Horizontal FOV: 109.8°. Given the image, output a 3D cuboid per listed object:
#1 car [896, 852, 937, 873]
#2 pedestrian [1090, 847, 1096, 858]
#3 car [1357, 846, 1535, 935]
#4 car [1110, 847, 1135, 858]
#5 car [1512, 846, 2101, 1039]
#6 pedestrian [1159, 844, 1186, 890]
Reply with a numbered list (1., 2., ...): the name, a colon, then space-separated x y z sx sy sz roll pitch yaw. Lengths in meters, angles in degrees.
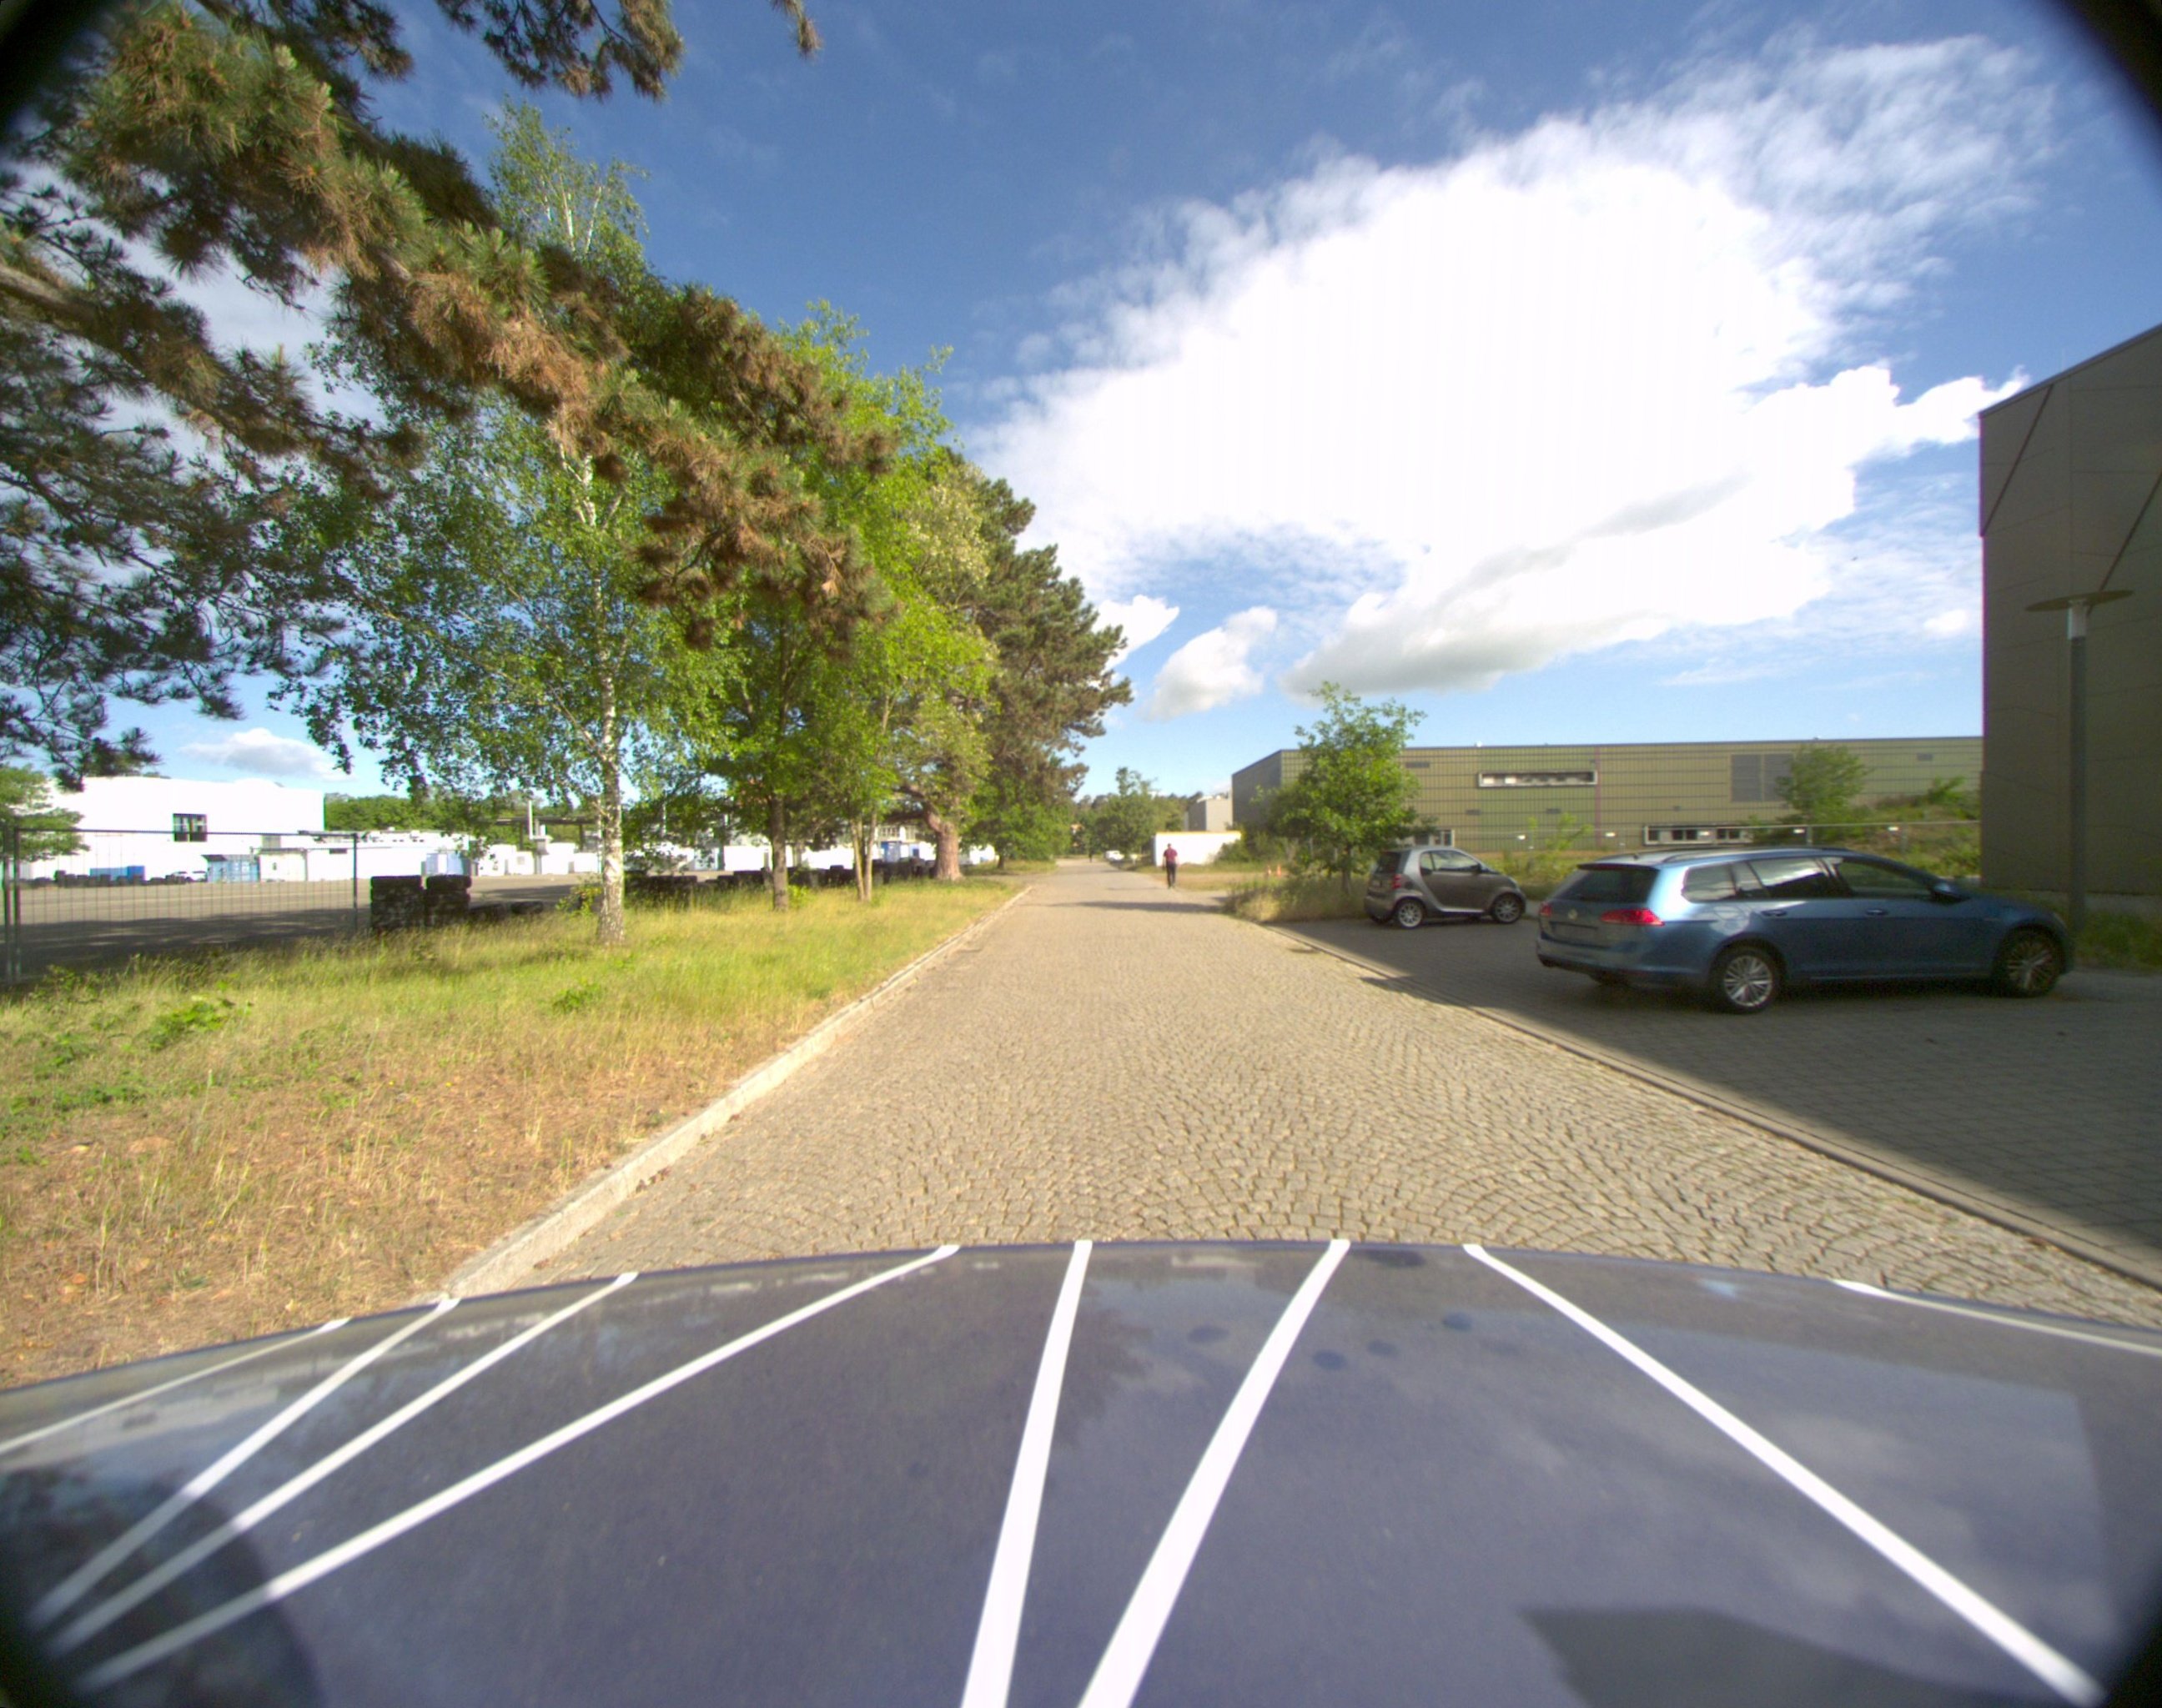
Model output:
1. car: -12.283 0.623 56.939 1.846 1.440 4.001 -1 1 6
2. pedestrian: 1.859 -0.253 118.540 0.908 1.797 0.983 -1 1 -7
3. car: 7.075 0.671 14.910 2.706 1.533 1.518 -3 1 -1
4. car: 6.640 -0.171 122.204 3.996 1.678 2.000 -1 1 3
5. car: 6.883 0.770 7.508 4.268 1.455 1.680 -3 0 -2
6. pedestrian: 3.606 0.512 30.026 0.806 1.761 1.152 -1 1 -4
